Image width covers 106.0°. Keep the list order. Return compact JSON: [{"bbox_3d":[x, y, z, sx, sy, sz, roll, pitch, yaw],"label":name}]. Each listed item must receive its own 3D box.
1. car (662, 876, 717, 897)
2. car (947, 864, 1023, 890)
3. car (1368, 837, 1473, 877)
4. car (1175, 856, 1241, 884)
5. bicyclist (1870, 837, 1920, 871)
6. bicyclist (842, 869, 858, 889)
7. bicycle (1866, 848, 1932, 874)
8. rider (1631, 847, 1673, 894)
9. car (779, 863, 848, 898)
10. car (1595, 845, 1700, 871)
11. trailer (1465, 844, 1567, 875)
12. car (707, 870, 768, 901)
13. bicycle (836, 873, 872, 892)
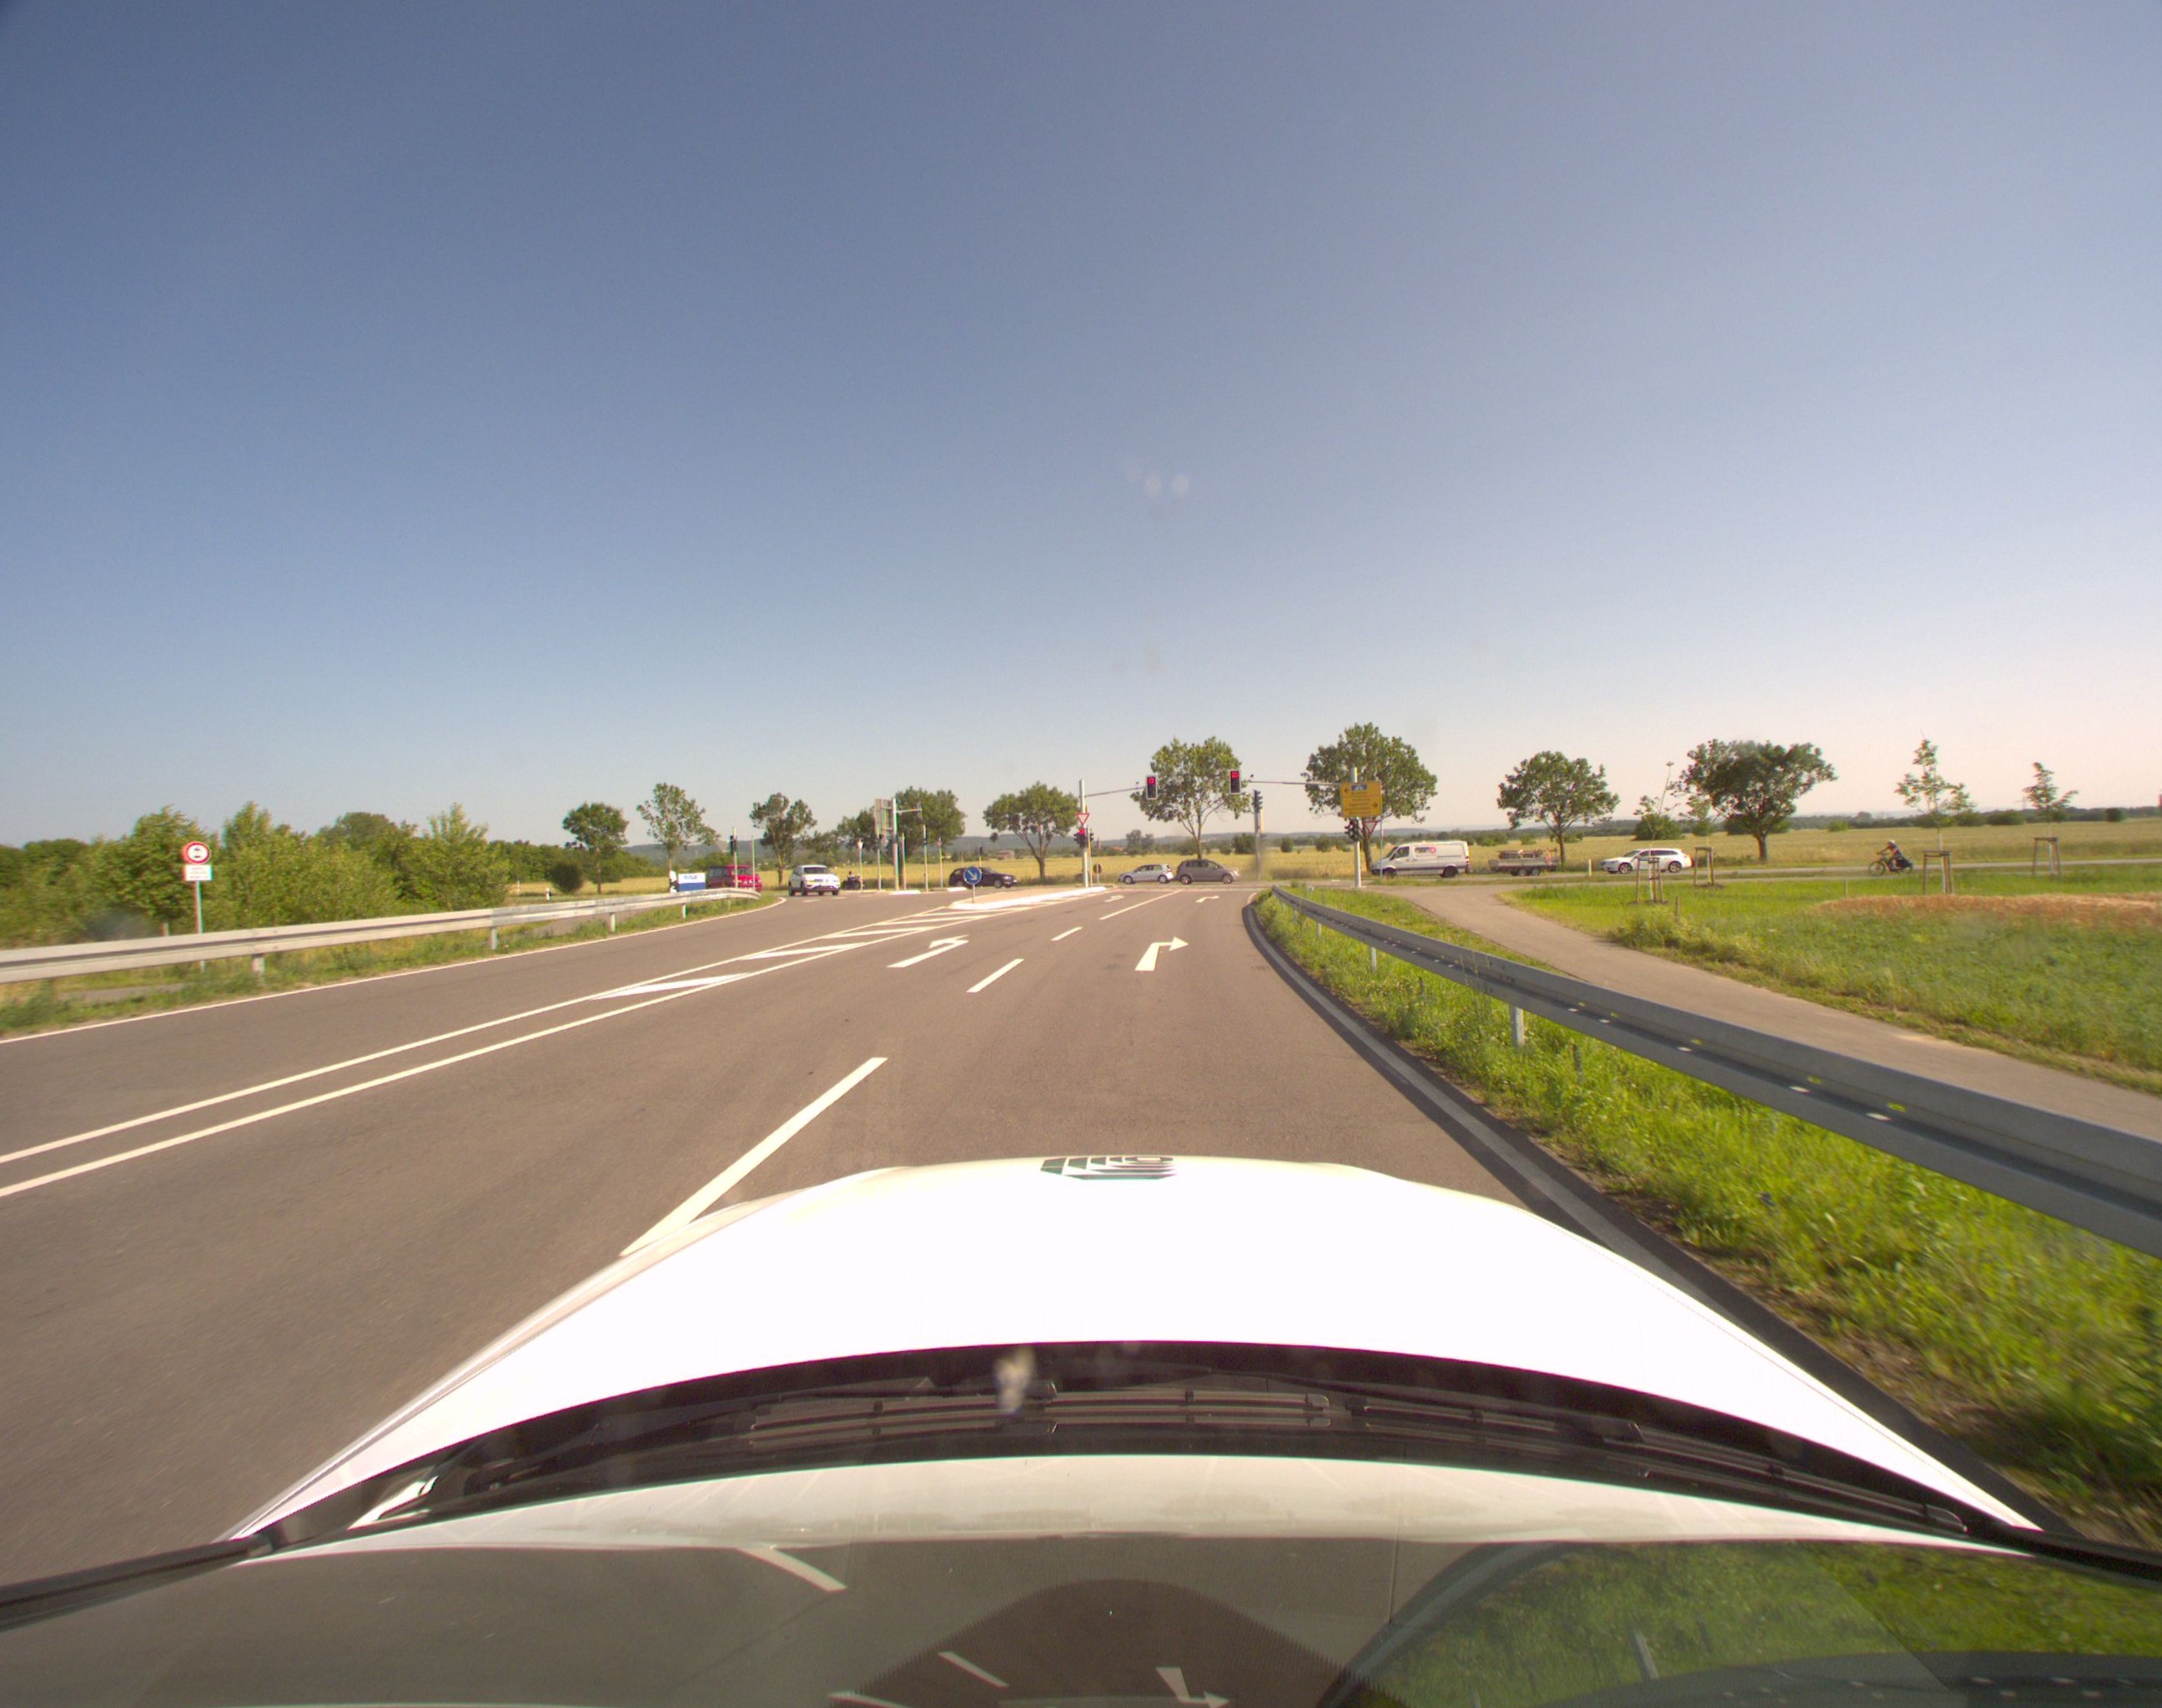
[{"bbox_3d":[-30.925,2.578,64.344,3.695,1.457,1.738,-3,0,21],"label":"car"},{"bbox_3d":[-6.472,1.533,54.870,4.639,1.519,1.929,-2,1,13],"label":"car"},{"bbox_3d":[21.548,0.203,51.882,5.916,2.493,2.007,0,-1,12],"label":"car"},{"bbox_3d":[7.988,1.009,51.124,3.928,1.668,1.770,0,-1,12],"label":"car"},{"bbox_3d":[39.507,0.004,39.548,1.271,1.601,1.169,-1,0,10],"label":"bicyclist"},{"bbox_3d":[-17.037,1.831,60.038,0.802,1.489,0.760,0,-1,14],"label":"bicyclist"},{"bbox_3d":[39.700,0.333,39.551,2.142,1.186,0.892,-1,-1,10],"label":"bicycle"},{"bbox_3d":[20.817,0.591,29.713,0.825,1.643,0.980,-3,1,-34],"label":"rider"},{"bbox_3d":[-14.167,1.427,42.999,1.706,1.674,4.804,2,-5,-41],"label":"car"},{"bbox_3d":[34.283,0.272,49.429,4.839,1.510,2.005,0,-1,10],"label":"car"},{"bbox_3d":[26.977,0.351,50.640,5.225,1.753,1.960,-2,-1,12],"label":"trailer"},{"bbox_3d":[-22.479,2.044,53.158,4.863,1.941,1.850,-2,-3,43],"label":"car"},{"bbox_3d":[-16.689,2.114,59.960,2.473,1.397,0.735,0,-1,13],"label":"bicycle"}]
